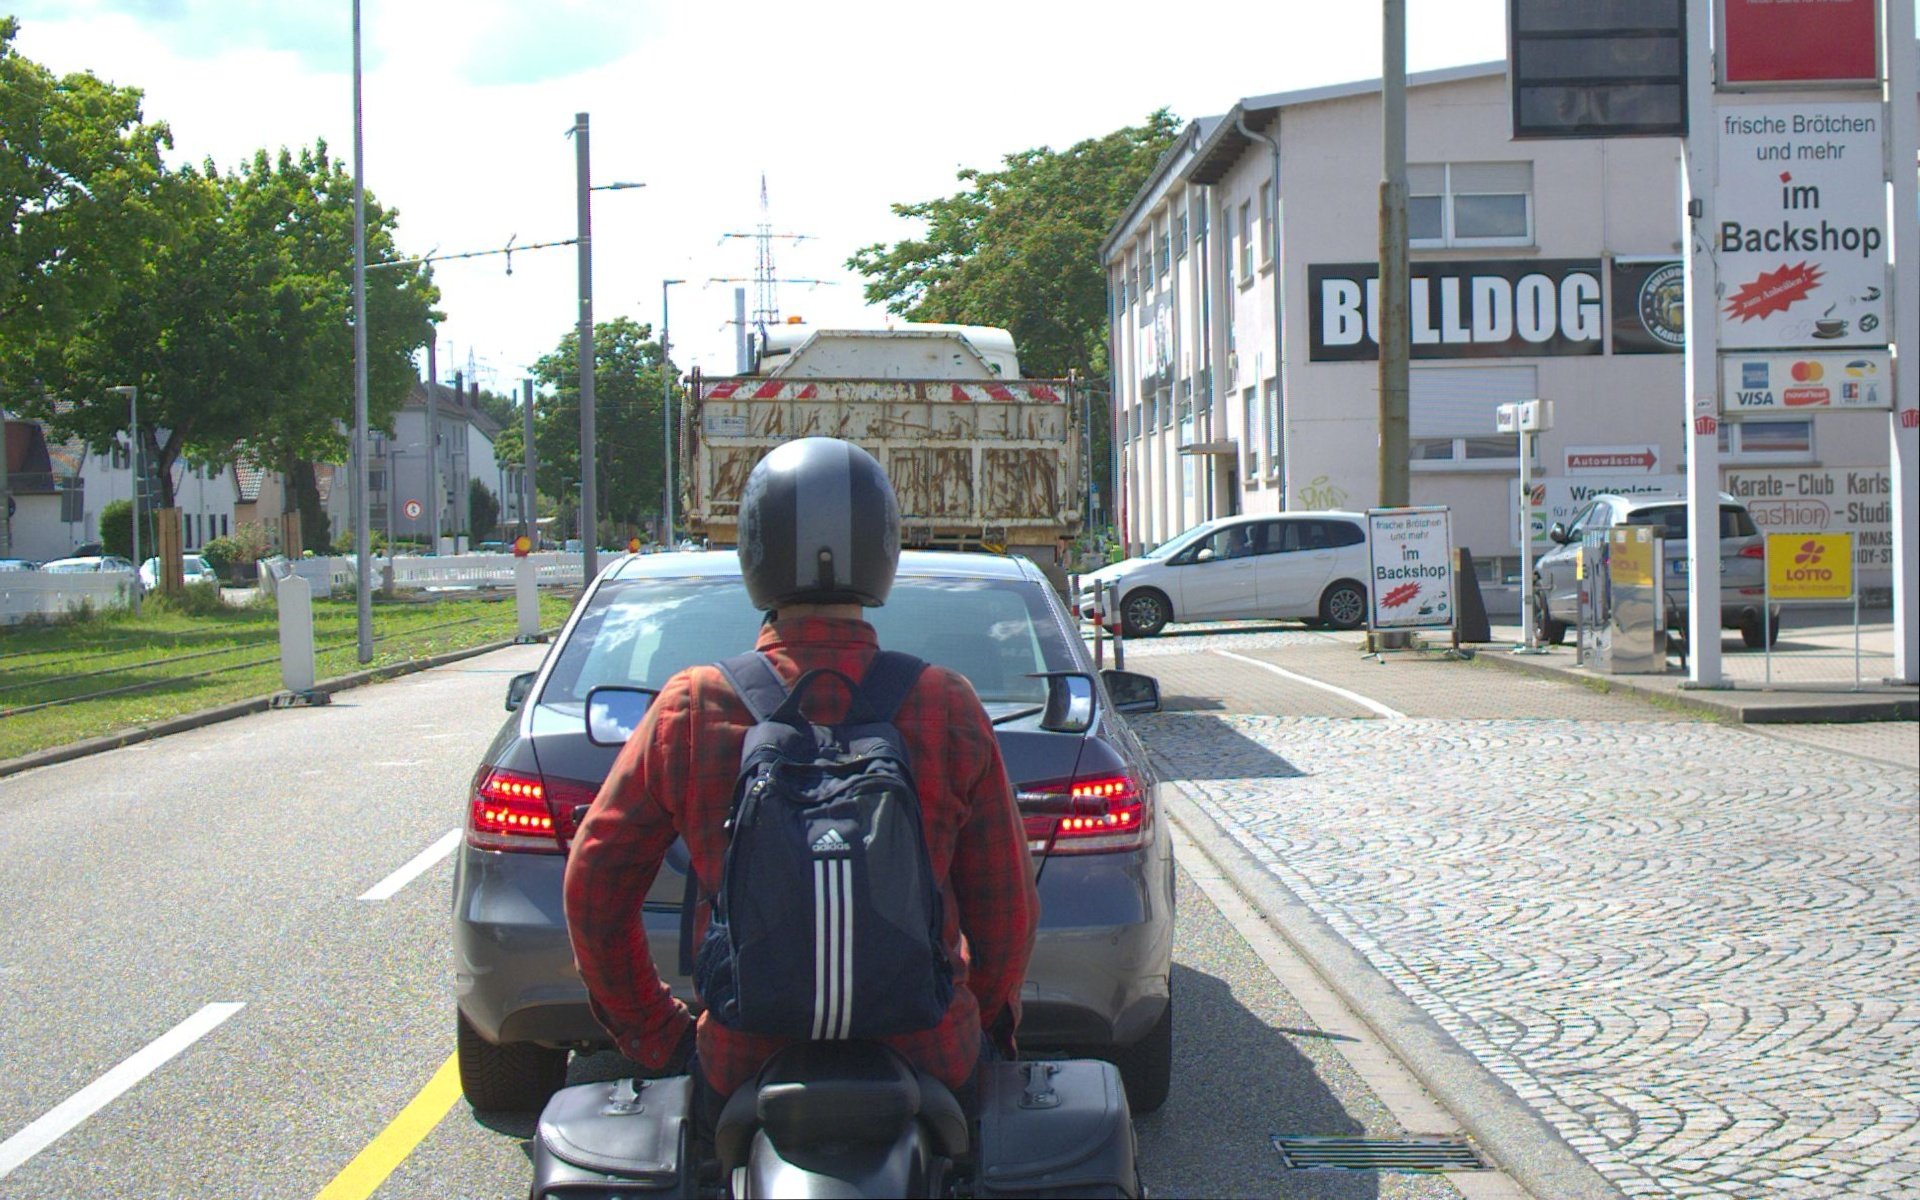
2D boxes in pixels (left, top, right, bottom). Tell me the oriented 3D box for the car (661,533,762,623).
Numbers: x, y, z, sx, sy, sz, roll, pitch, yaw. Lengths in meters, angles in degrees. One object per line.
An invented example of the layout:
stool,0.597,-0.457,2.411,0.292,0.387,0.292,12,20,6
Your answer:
car,-4.759,-0.450,66.216,1.680,1.619,4.119,-1,1,-1

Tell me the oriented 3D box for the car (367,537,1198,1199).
car,-0.452,0.588,9.743,1.832,1.474,4.010,-1,1,-2

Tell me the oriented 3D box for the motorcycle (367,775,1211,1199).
motorcycle,-0.216,0.864,5.207,0.976,1.010,2.432,1,1,-1

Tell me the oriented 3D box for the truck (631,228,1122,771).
truck,-0.633,-0.715,25.468,2.970,3.293,8.408,-1,1,-2

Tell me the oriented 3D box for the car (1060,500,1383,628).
car,3.552,-0.502,47.030,4.104,1.619,1.686,-1,1,-8

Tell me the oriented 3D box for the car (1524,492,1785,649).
car,7.325,-0.342,36.644,1.832,1.530,4.010,-1,1,-2

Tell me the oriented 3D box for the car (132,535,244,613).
car,-17.885,-0.624,79.810,1.698,1.733,3.860,-1,1,0

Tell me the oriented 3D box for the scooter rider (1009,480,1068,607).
scooter rider,1.135,-0.813,49.577,0.795,1.812,0.508,-1,1,-1

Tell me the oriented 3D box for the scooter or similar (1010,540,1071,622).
scooter or similar,1.151,-0.287,49.524,0.795,1.141,1.519,-1,1,-1

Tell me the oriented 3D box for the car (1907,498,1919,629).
car,11.790,-0.401,37.242,1.832,1.474,4.010,-1,1,-2

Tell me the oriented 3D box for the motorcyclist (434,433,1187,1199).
motorcyclist,-0.206,0.589,5.084,0.969,1.627,1.215,1,1,-1

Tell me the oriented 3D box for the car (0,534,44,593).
car,-29.262,-1.114,104.588,1.698,1.733,4.062,-1,1,0
